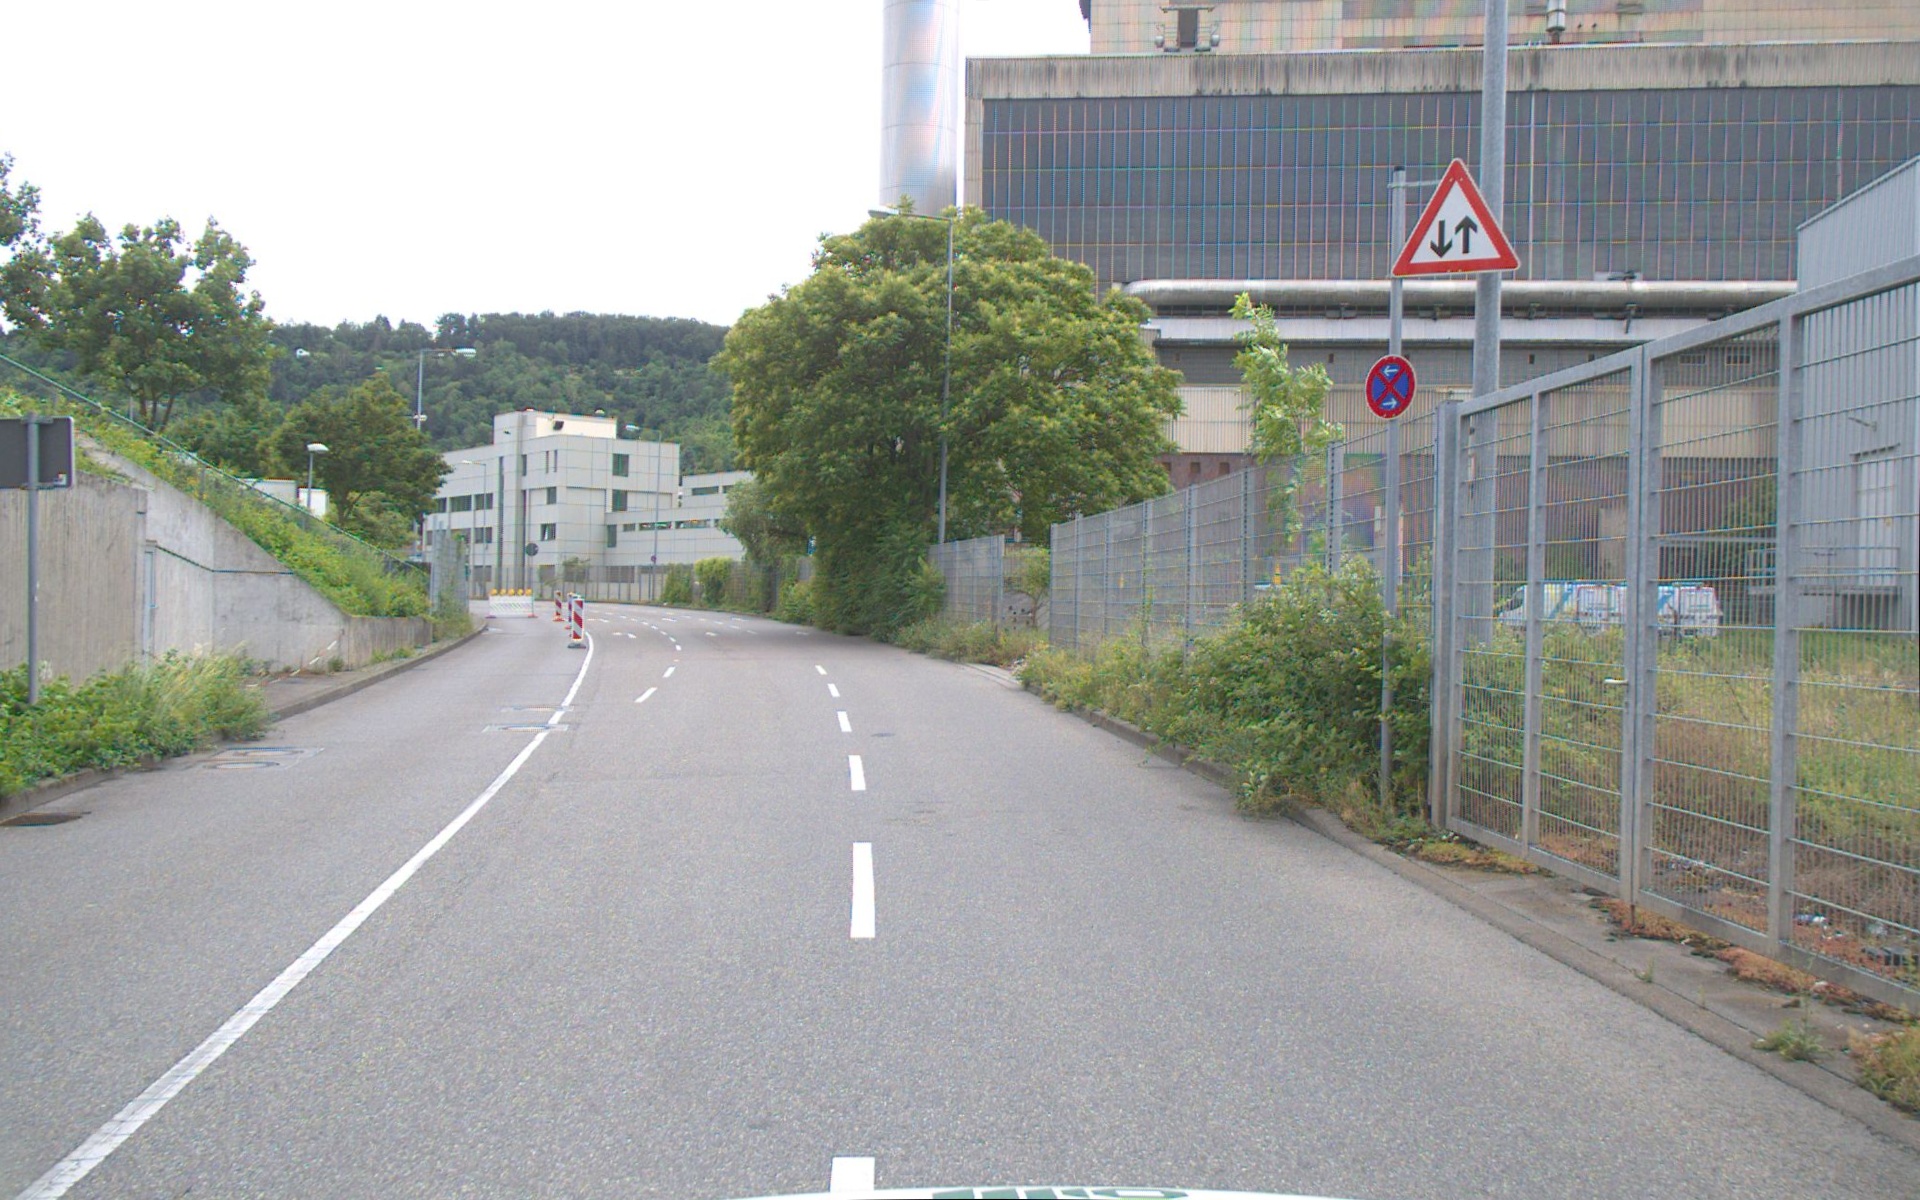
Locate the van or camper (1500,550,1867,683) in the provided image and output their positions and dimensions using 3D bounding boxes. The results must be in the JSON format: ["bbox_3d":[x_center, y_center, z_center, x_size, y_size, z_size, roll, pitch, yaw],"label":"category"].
[{"bbox_3d":[26.683,0.716,61.347,11.605,4.611,5.466,1,-2,-14],"label":"van or camper"}]

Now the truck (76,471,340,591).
[{"bbox_3d":[-25.824,-2.252,57.071,7.790,3.601,3.009,2,-3,-40],"label":"truck"}]

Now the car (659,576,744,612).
[{"bbox_3d":[-18.086,-0.426,115.600,6.041,2.302,1.994,2,0,33],"label":"car"}]

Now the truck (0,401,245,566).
[{"bbox_3d":[-22.591,-2.854,41.414,8.083,3.601,3.006,2,-3,-42],"label":"truck"}]

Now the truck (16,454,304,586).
[{"bbox_3d":[-25.229,-2.392,52.378,7.780,3.601,3.013,2,-3,-37],"label":"truck"}]

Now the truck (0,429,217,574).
[{"bbox_3d":[-25.575,-2.725,46.739,7.797,3.601,3.006,2,-3,-42],"label":"truck"}]
